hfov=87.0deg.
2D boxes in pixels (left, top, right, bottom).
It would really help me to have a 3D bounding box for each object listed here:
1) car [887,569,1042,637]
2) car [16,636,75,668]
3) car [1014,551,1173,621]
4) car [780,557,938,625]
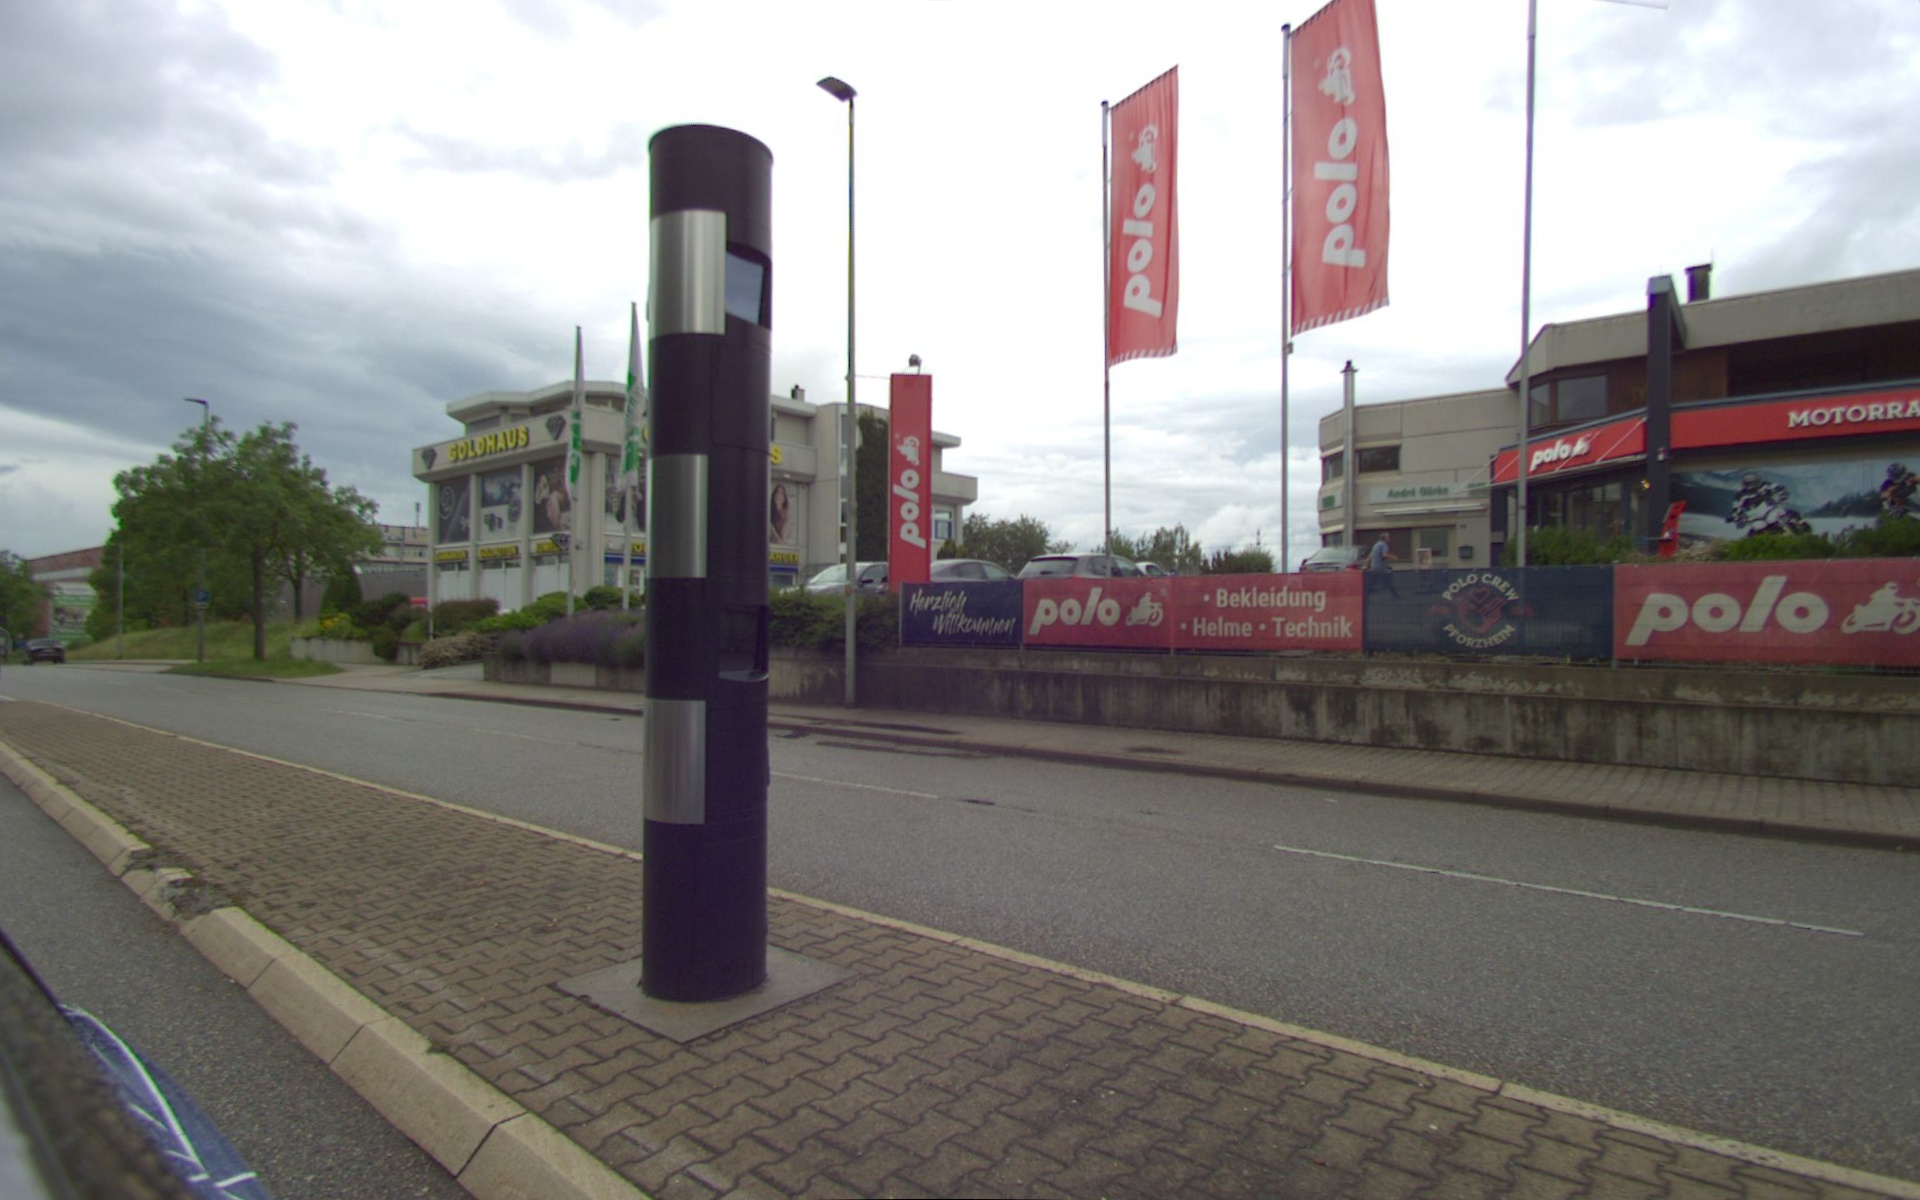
[{"bbox_3d":[0.162,0.104,20.893,1.452,1.287,3.353,-2,-2,38],"label":"car"},{"bbox_3d":[-59.199,3.399,65.515,4.542,1.905,2.320,-4,-4,41],"label":"car"},{"bbox_3d":[2.580,-0.202,19.011,1.452,1.176,3.353,-2,-2,38],"label":"car"},{"bbox_3d":[-2.137,-0.148,22.041,1.454,1.347,3.350,-2,-2,42],"label":"car"}]
